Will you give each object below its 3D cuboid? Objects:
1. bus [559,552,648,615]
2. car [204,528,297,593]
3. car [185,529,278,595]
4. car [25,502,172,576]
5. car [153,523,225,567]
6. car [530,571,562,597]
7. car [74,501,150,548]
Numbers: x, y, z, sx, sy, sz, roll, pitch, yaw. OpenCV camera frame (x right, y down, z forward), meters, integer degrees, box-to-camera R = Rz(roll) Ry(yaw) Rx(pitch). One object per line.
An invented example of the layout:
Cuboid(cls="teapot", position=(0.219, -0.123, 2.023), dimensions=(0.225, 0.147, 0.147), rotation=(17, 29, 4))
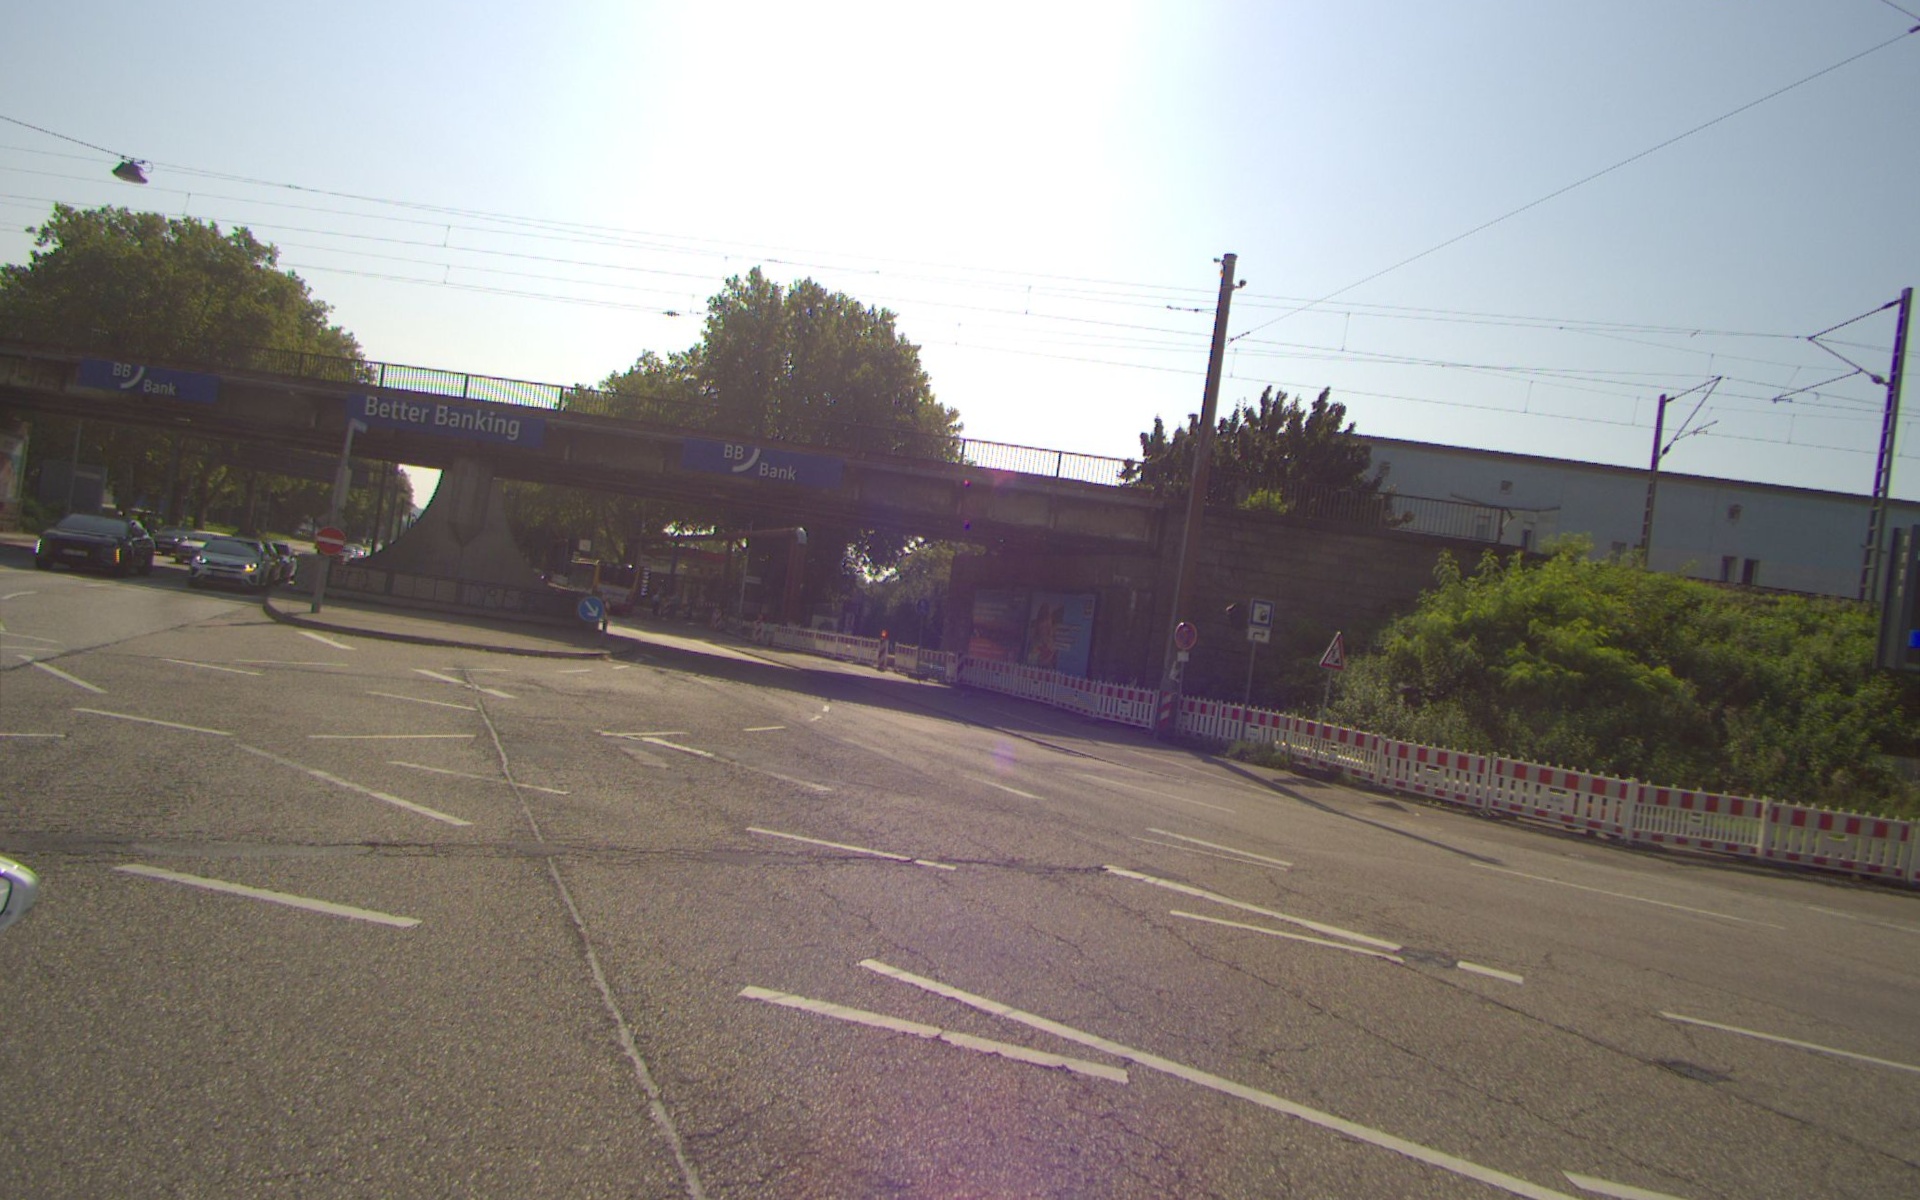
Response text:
Cuboid(cls="bus", position=(-23.184, -1.180, 64.852), dimensions=(3.115, 3.144, 12.204), rotation=(13, -4, -28))
Cuboid(cls="car", position=(-22.982, -1.336, 32.732), dimensions=(1.981, 1.591, 4.309), rotation=(10, 0, -32))
Cuboid(cls="car", position=(-20.685, -1.097, 28.698), dimensions=(1.710, 1.556, 3.665), rotation=(8, -1, -32))
Cuboid(cls="car", position=(-23.915, -1.627, 28.124), dimensions=(1.885, 1.636, 4.447), rotation=(8, -2, -26))
Cuboid(cls="car", position=(-31.641, -2.249, 41.377), dimensions=(1.680, 1.375, 3.969), rotation=(12, -3, -30))
Cuboid(cls="car", position=(-40.149, -1.556, 97.552), dimensions=(1.983, 2.035, 3.968), rotation=(12, -3, -31))
Cuboid(cls="car", position=(-42.125, -3.718, 50.084), dimensions=(1.982, 1.868, 3.969), rotation=(12, -3, -30))
